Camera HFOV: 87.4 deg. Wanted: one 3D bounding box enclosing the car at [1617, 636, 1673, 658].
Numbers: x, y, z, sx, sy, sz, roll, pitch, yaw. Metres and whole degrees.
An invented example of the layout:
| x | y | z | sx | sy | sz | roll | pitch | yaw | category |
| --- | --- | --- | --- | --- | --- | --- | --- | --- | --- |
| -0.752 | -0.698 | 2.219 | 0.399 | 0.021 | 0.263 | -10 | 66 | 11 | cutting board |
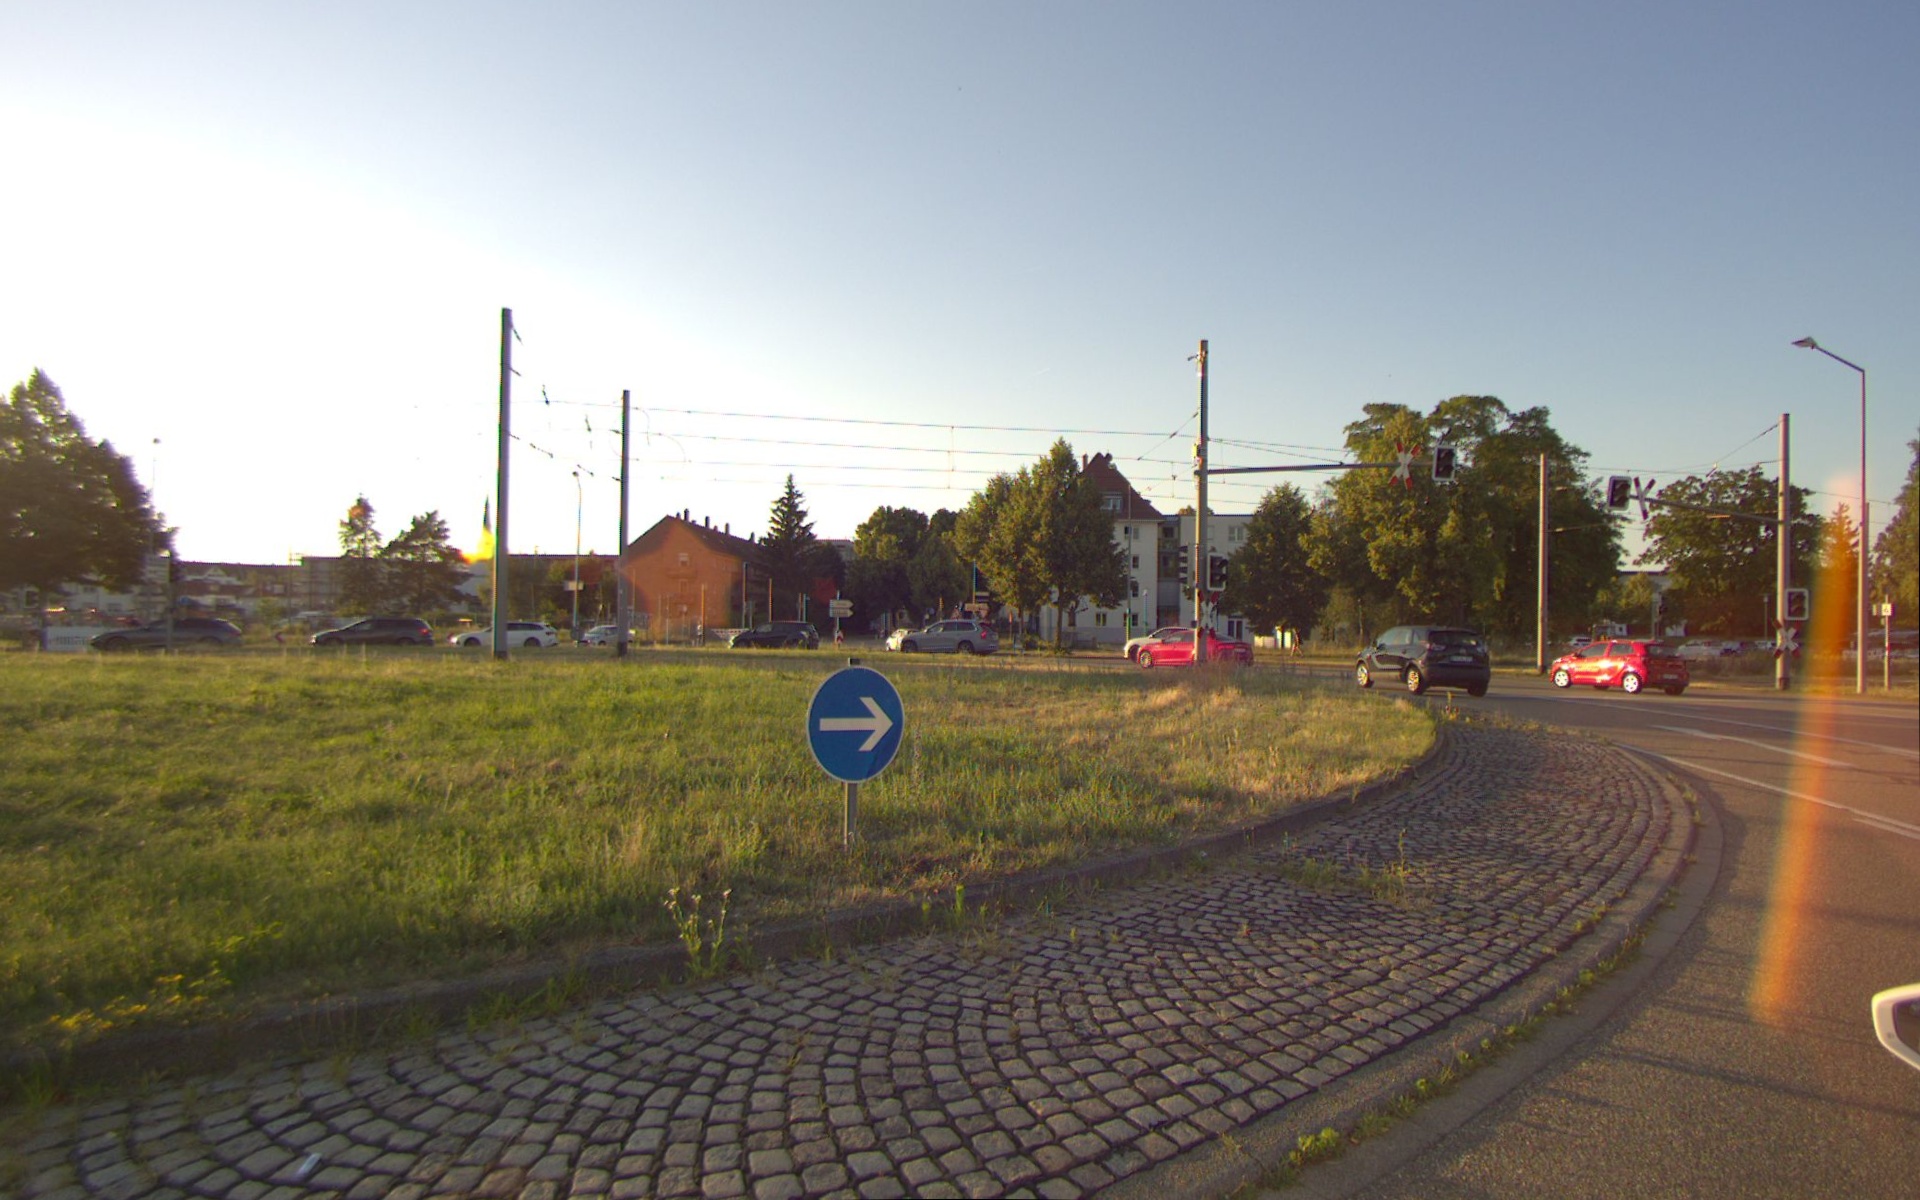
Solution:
| x | y | z | sx | sy | sz | roll | pitch | yaw | category |
| --- | --- | --- | --- | --- | --- | --- | --- | --- | --- |
| 54.739 | 3.704 | 80.337 | 1.960 | 1.625 | 4.002 | 1 | -1 | 3 | car |

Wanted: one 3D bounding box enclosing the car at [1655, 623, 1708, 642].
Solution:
| x | y | z | sx | sy | sz | roll | pitch | yaw | category |
| --- | --- | --- | --- | --- | --- | --- | --- | --- | --- |
| 80.212 | 3.650 | 111.740 | 4.507 | 2.040 | 2.000 | 1 | -1 | 0 | car |

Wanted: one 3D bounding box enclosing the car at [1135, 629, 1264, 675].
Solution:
| x | y | z | sx | sy | sz | roll | pitch | yaw | category |
| --- | --- | --- | --- | --- | --- | --- | --- | --- | --- |
| 8.165 | 1.729 | 34.643 | 1.872 | 1.410 | 4.465 | 1 | -1 | -28 | car |

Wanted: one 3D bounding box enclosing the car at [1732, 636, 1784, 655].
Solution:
| x | y | z | sx | sy | sz | roll | pitch | yaw | category |
| --- | --- | --- | --- | --- | --- | --- | --- | --- | --- |
| 77.329 | 4.422 | 97.414 | 3.938 | 1.684 | 1.894 | 0 | -1 | 39 | car |

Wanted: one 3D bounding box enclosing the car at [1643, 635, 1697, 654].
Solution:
| x | y | z | sx | sy | sz | roll | pitch | yaw | category |
| --- | --- | --- | --- | --- | --- | --- | --- | --- | --- |
| 69.193 | 4.333 | 97.931 | 3.919 | 1.684 | 1.904 | 1 | -1 | 5 | car |

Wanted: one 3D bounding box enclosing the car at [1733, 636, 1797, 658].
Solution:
| x | y | z | sx | sy | sz | roll | pitch | yaw | category |
| --- | --- | --- | --- | --- | --- | --- | --- | --- | --- |
| 63.998 | 3.718 | 79.931 | 1.960 | 1.625 | 4.002 | 1 | -1 | 3 | car |

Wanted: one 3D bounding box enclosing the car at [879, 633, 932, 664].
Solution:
| x | y | z | sx | sy | sz | roll | pitch | yaw | category |
| --- | --- | --- | --- | --- | --- | --- | --- | --- | --- |
| -3.557 | 3.067 | 64.425 | 1.974 | 1.840 | 3.973 | 1 | -1 | -27 | car |

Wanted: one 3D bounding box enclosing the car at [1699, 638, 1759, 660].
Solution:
| x | y | z | sx | sy | sz | roll | pitch | yaw | category |
| --- | --- | --- | --- | --- | --- | --- | --- | --- | --- |
| 61.617 | 3.913 | 80.560 | 1.960 | 1.625 | 4.002 | 1 | -1 | 3 | car |

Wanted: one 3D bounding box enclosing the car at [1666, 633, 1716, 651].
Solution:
| x | y | z | sx | sy | sz | roll | pitch | yaw | category |
| --- | --- | --- | --- | --- | --- | --- | --- | --- | --- |
| 73.144 | 4.191 | 100.576 | 3.934 | 1.684 | 1.994 | 0 | -1 | 35 | car |

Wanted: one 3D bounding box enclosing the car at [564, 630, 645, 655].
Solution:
| x | y | z | sx | sy | sz | roll | pitch | yaw | category |
| --- | --- | --- | --- | --- | --- | --- | --- | --- | --- |
| -21.190 | 2.531 | 60.049 | 2.071 | 1.385 | 4.463 | 0 | -1 | 25 | car |

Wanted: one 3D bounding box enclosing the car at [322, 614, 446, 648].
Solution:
| x | y | z | sx | sy | sz | roll | pitch | yaw | category |
| --- | --- | --- | --- | --- | --- | --- | --- | --- | --- |
| -24.319 | 1.318 | 42.570 | 4.323 | 1.394 | 1.989 | 1 | -1 | -24 | car |

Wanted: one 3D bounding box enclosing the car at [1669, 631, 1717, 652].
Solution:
| x | y | z | sx | sy | sz | roll | pitch | yaw | category |
| --- | --- | --- | --- | --- | --- | --- | --- | --- | --- |
| 75.530 | 4.223 | 103.630 | 3.934 | 2.040 | 1.994 | 0 | -1 | 35 | car |

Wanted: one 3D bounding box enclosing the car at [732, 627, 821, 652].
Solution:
| x | y | z | sx | sy | sz | roll | pitch | yaw | category |
| --- | --- | --- | --- | --- | --- | --- | --- | --- | --- |
| -8.996 | 1.911 | 49.285 | 3.919 | 1.119 | 1.691 | 1 | -1 | 12 | car |

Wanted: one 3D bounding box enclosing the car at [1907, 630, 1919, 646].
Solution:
| x | y | z | sx | sy | sz | roll | pitch | yaw | category |
| --- | --- | --- | --- | --- | --- | --- | --- | --- | --- |
| 105.567 | 4.114 | 108.719 | 1.971 | 1.728 | 3.979 | 1 | -1 | -22 | car |

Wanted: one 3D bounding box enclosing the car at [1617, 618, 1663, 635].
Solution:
| x | y | z | sx | sy | sz | roll | pitch | yaw | category |
| --- | --- | --- | --- | --- | --- | --- | --- | --- | --- |
| 86.237 | 3.388 | 127.439 | 4.505 | 2.040 | 2.001 | 1 | -1 | 5 | car |

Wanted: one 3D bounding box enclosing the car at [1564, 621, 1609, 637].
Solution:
| x | y | z | sx | sy | sz | roll | pitch | yaw | category |
| --- | --- | --- | --- | --- | --- | --- | --- | --- | --- |
| 79.562 | 3.657 | 127.623 | 4.507 | 2.040 | 2.000 | 1 | -1 | 0 | car |

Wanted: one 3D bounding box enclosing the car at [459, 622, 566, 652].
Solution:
| x | y | z | sx | sy | sz | roll | pitch | yaw | category |
| --- | --- | --- | --- | --- | --- | --- | --- | --- | --- |
| -21.671 | 1.787 | 48.796 | 4.389 | 1.385 | 2.106 | 1 | -1 | -13 | car |

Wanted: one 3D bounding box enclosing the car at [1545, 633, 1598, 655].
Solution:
| x | y | z | sx | sy | sz | roll | pitch | yaw | category |
| --- | --- | --- | --- | --- | --- | --- | --- | --- | --- |
| 49.396 | 3.547 | 81.229 | 1.960 | 1.625 | 4.002 | 1 | -1 | 3 | car |

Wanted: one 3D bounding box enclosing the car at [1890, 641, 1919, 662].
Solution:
| x | y | z | sx | sy | sz | roll | pitch | yaw | category |
| --- | --- | --- | --- | --- | --- | --- | --- | --- | --- |
| 76.335 | 4.089 | 79.474 | 1.960 | 1.625 | 4.002 | 1 | -1 | 3 | car |

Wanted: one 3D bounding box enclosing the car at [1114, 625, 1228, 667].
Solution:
| x | y | z | sx | sy | sz | roll | pitch | yaw | category |
| --- | --- | --- | --- | --- | --- | --- | --- | --- | --- |
| 9.498 | 2.036 | 45.410 | 4.643 | 1.728 | 1.991 | 0 | -1 | 39 | car |

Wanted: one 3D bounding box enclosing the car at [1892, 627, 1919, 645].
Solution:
| x | y | z | sx | sy | sz | roll | pitch | yaw | category |
| --- | --- | --- | --- | --- | --- | --- | --- | --- | --- |
| 107.435 | 4.031 | 112.596 | 3.919 | 2.040 | 2.001 | 1 | -1 | 11 | car |

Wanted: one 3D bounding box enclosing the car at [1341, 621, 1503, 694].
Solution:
| x | y | z | sx | sy | sz | roll | pitch | yaw | category |
| --- | --- | --- | --- | --- | --- | --- | --- | --- | --- |
| 11.138 | 1.337 | 24.537 | 1.859 | 1.605 | 3.997 | 1 | -1 | -5 | car |

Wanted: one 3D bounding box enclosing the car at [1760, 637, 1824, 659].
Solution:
| x | y | z | sx | sy | sz | roll | pitch | yaw | category |
| --- | --- | --- | --- | --- | --- | --- | --- | --- | --- |
| 66.351 | 3.790 | 80.170 | 1.960 | 1.625 | 4.002 | 1 | -1 | 3 | car |

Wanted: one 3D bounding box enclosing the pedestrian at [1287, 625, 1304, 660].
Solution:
| x | y | z | sx | sy | sz | roll | pitch | yaw | category |
| --- | --- | --- | --- | --- | --- | --- | --- | --- | --- |
| 18.860 | 2.366 | 56.490 | 0.614 | 1.918 | 0.662 | 2 | 0 | -35 | pedestrian |

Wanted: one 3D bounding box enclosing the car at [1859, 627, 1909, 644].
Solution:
| x | y | z | sx | sy | sz | roll | pitch | yaw | category |
| --- | --- | --- | --- | --- | --- | --- | --- | --- | --- |
| 108.015 | 4.131 | 117.448 | 3.919 | 1.840 | 2.001 | 1 | -1 | 5 | car |

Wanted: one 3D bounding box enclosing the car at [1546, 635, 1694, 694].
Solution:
| x | y | z | sx | sy | sz | roll | pitch | yaw | category |
| --- | --- | --- | --- | --- | --- | --- | --- | --- | --- |
| 18.967 | 1.821 | 29.036 | 1.614 | 1.519 | 3.483 | 1 | -1 | -11 | car |

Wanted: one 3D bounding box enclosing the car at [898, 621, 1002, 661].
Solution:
| x | y | z | sx | sy | sz | roll | pitch | yaw | category |
| --- | --- | --- | --- | --- | --- | --- | --- | --- | --- |
| -0.486 | 1.874 | 47.002 | 4.546 | 1.759 | 1.893 | 0 | -1 | 29 | car |

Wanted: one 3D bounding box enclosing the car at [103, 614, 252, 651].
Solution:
| x | y | z | sx | sy | sz | roll | pitch | yaw | category |
| --- | --- | --- | --- | --- | --- | --- | --- | --- | --- |
| -30.682 | 1.260 | 39.569 | 4.299 | 1.394 | 1.985 | 1 | -1 | -29 | car |

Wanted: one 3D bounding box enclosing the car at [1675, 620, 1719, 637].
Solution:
| x | y | z | sx | sy | sz | roll | pitch | yaw | category |
| --- | --- | --- | --- | --- | --- | --- | --- | --- | --- |
| 93.187 | 3.594 | 127.031 | 4.033 | 2.040 | 2.001 | 1 | -1 | 4 | car |

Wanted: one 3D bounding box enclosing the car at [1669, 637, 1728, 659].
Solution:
| x | y | z | sx | sy | sz | roll | pitch | yaw | category |
| --- | --- | --- | --- | --- | --- | --- | --- | --- | --- |
| 59.498 | 3.852 | 81.038 | 1.960 | 1.625 | 4.002 | 1 | -1 | 3 | car |
